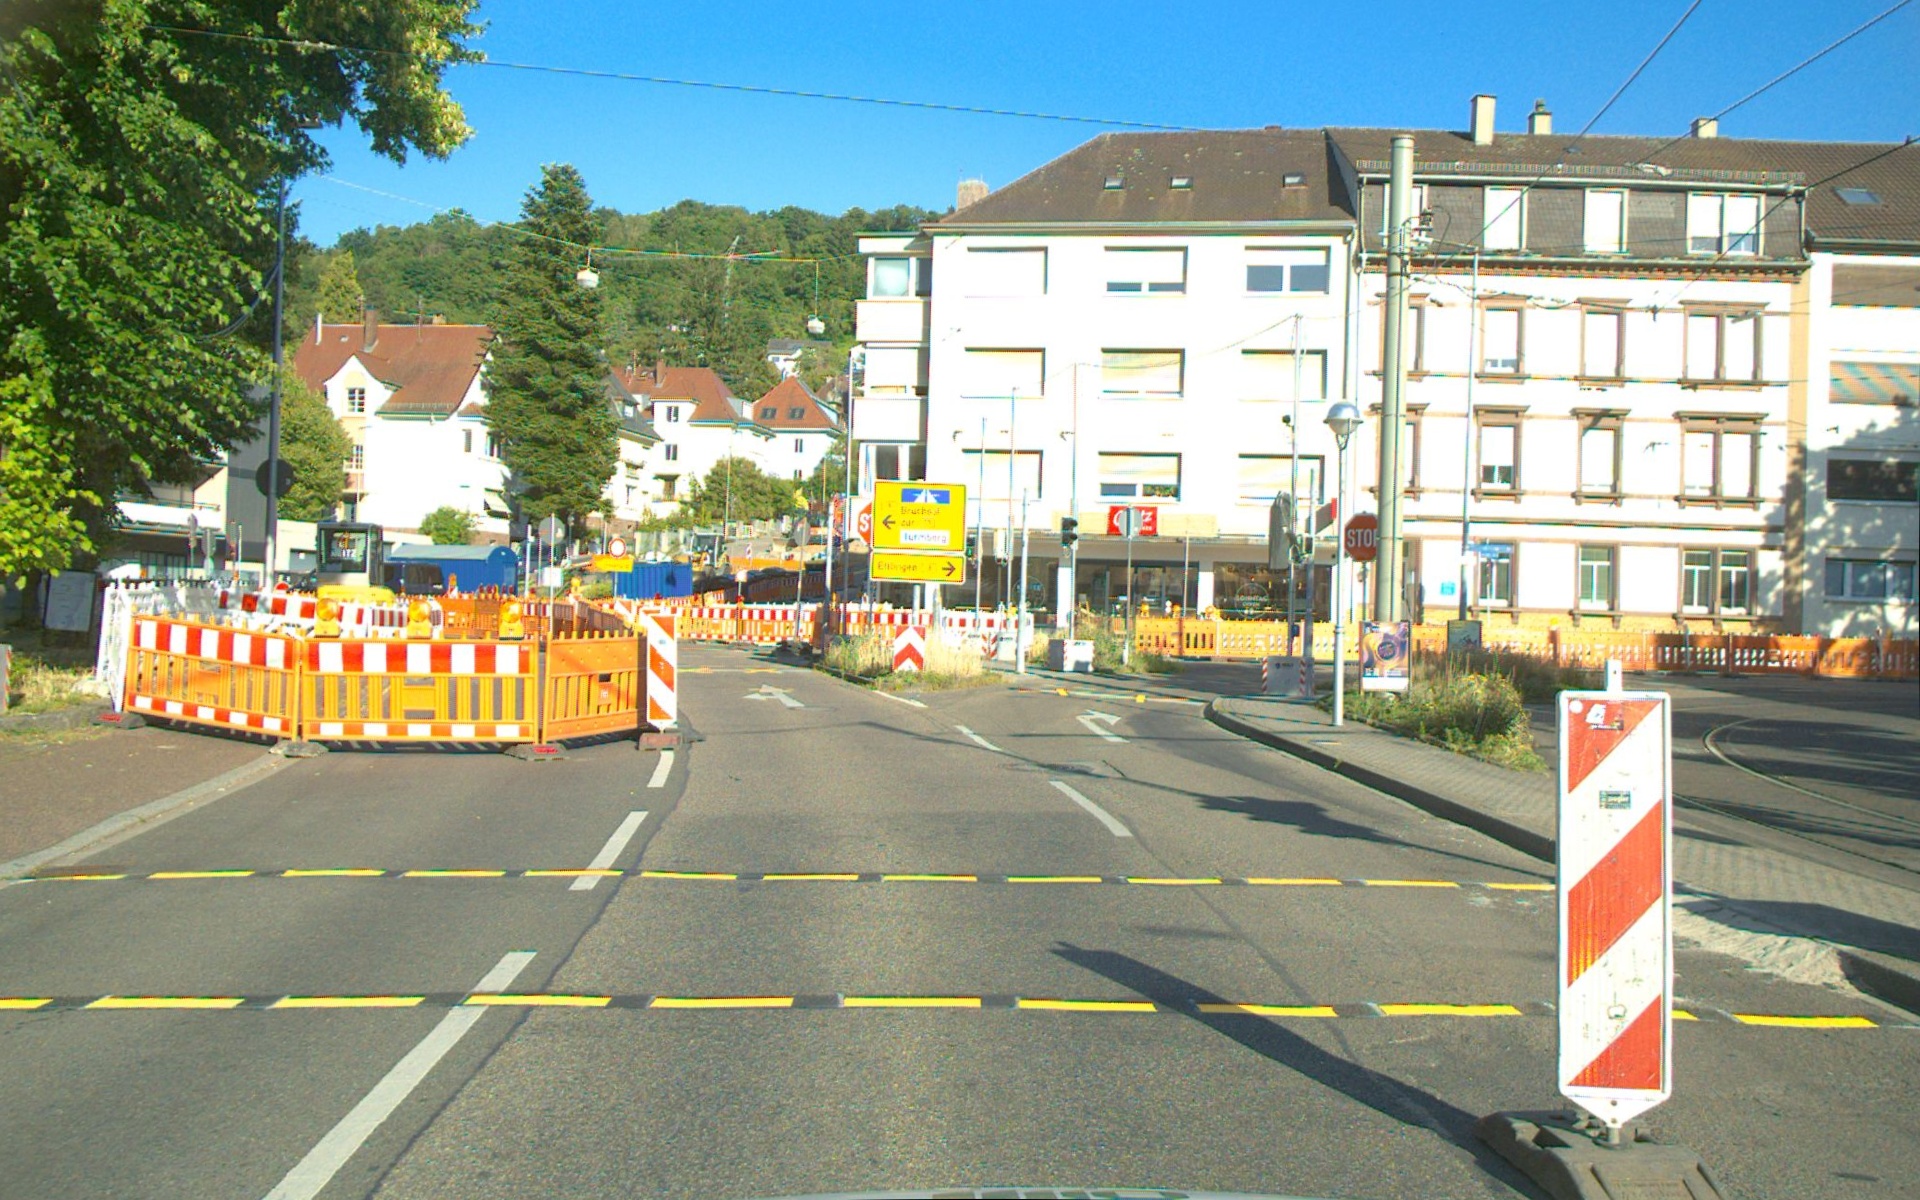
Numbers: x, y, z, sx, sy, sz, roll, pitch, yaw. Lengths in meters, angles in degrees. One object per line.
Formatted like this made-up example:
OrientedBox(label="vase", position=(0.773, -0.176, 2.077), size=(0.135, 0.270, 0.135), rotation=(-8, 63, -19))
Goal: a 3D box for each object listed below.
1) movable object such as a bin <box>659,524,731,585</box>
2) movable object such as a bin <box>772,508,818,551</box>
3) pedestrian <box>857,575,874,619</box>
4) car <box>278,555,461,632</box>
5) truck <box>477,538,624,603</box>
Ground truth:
OrientedBox(label="movable object such as a bin", position=(-12.657, -2.138, 79.207), size=(2.144, 2.737, 4.003), rotation=(1, 0, 9))
OrientedBox(label="movable object such as a bin", position=(-11.318, -4.833, 113.642), size=(2.144, 2.737, 4.003), rotation=(1, 0, 9))
OrientedBox(label="pedestrian", position=(-3.958, -0.128, 69.241), size=(0.627, 1.791, 0.718), rotation=(1, 0, -1))
OrientedBox(label="car", position=(-16.895, -0.186, 47.292), size=(4.886, 2.049, 2.066), rotation=(2, 0, 26))
OrientedBox(label="truck", position=(-16.740, -1.140, 68.407), size=(2.306, 2.458, 9.159), rotation=(1, 0, 10))
